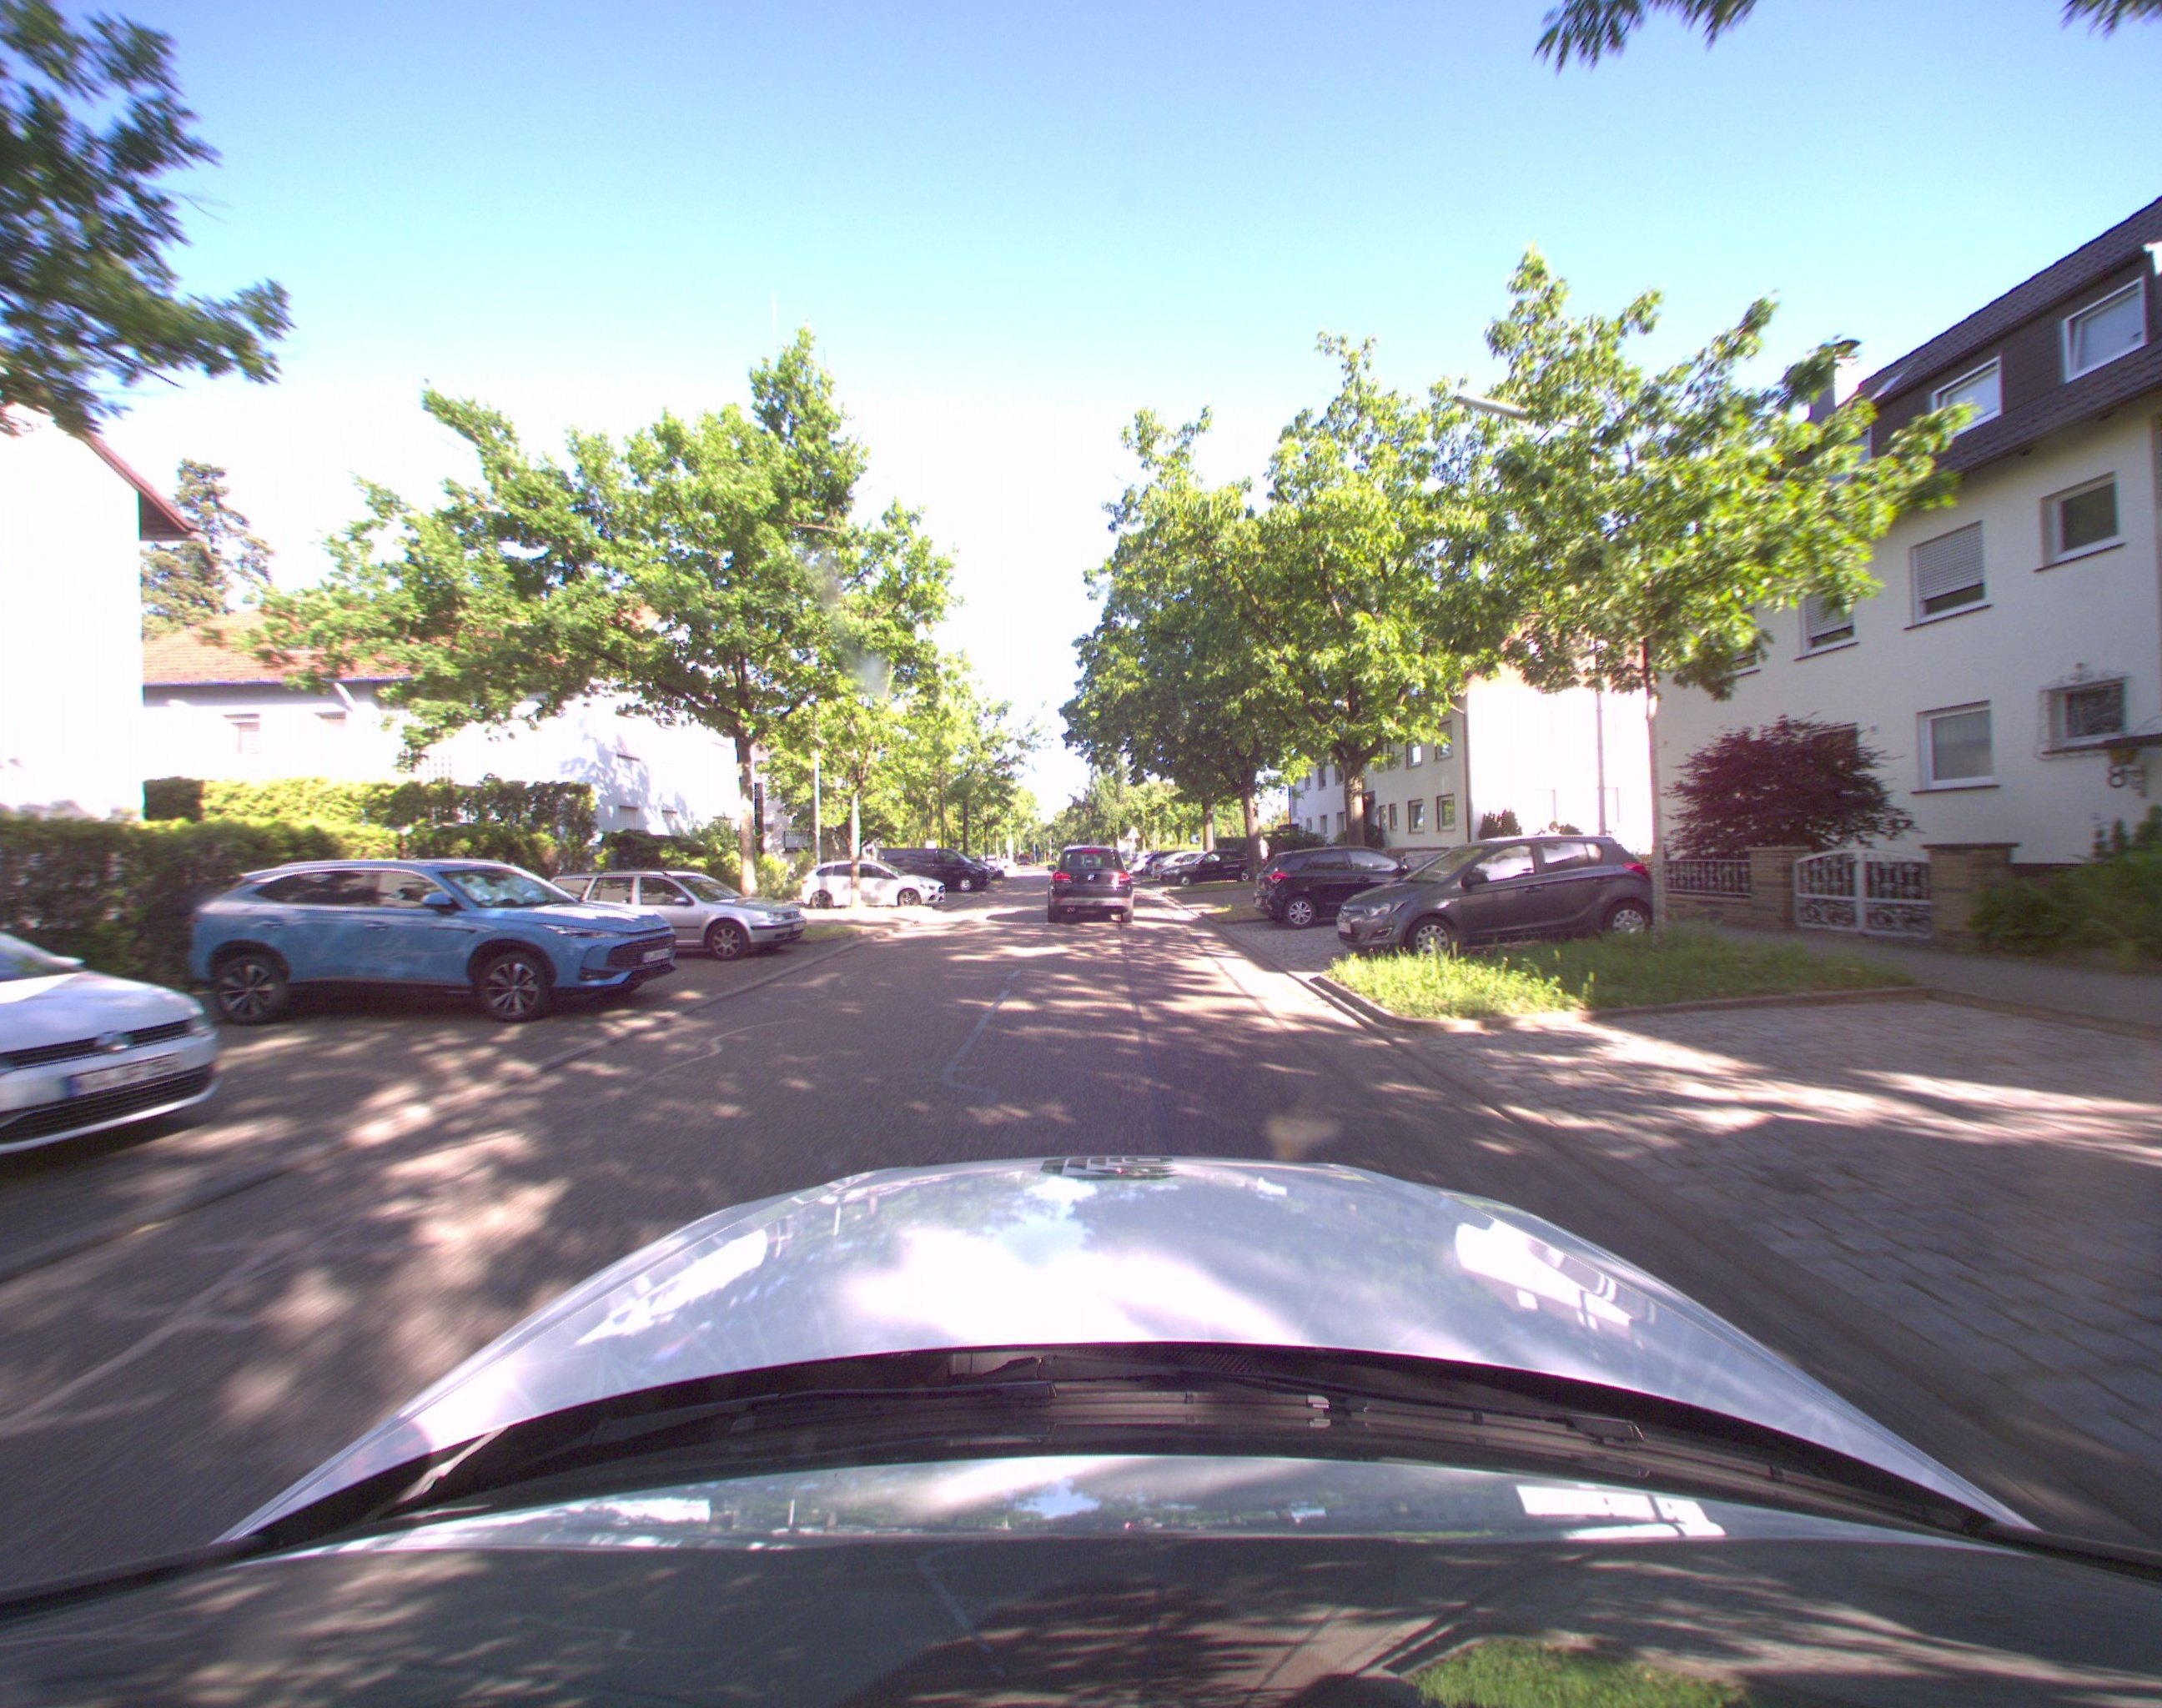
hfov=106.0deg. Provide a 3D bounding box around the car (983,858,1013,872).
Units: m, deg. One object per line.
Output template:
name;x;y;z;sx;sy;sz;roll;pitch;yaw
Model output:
car;-11.660;1.540;114.868;4.008;1.647;1.809;-4;2;-4

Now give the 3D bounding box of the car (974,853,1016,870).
car;-8.937;0.819;84.991;4.234;1.623;1.894;-2;-1;-4

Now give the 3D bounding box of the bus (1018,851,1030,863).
bus;-14.878;0.916;214.079;2.922;3.004;5.729;-2;-1;-3

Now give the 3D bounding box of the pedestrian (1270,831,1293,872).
pedestrian;8.981;-0.103;36.542;0.831;1.828;0.711;-2;-1;2

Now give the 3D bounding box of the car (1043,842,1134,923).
car;0.272;0.584;18.617;1.830;1.636;3.962;-1;0;3

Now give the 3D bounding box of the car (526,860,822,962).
car;-6.814;0.932;13.917;4.167;1.492;1.647;-2;-1;1

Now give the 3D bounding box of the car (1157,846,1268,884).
car;5.481;0.449;34.362;4.332;1.363;1.873;-3;-1;0

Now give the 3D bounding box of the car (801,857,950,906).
car;-6.442;0.846;25.846;4.261;1.478;1.769;0;0;0

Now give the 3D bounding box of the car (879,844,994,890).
car;-6.355;0.565;36.272;4.765;1.916;2.018;-1;0;-2

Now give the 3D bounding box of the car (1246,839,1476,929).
car;5.319;0.556;15.829;3.868;1.516;1.661;-2;-1;1

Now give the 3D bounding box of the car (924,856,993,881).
car;-7.222;0.857;48.169;3.808;1.419;1.771;-1;0;-2

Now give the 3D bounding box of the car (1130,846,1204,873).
car;5.318;0.334;50.886;4.413;1.491;1.797;-3;0;0

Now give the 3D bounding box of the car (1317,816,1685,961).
car;5.403;0.430;10.864;3.975;1.623;1.757;-2;-1;-1

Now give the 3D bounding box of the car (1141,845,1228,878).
car;5.307;0.374;42.144;4.262;1.503;1.797;-3;0;0

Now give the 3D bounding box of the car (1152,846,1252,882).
car;5.463;0.430;37.179;4.262;1.414;1.797;-3;0;0

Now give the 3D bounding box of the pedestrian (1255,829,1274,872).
pedestrian;8.173;-0.164;36.257;0.605;1.873;0.924;-2;-1;2

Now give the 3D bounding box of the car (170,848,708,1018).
car;-6.923;0.808;9.163;4.507;1.631;1.938;-1;-1;1

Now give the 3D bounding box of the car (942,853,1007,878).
car;-6.663;0.704;51.250;3.844;1.459;1.714;-1;0;0
